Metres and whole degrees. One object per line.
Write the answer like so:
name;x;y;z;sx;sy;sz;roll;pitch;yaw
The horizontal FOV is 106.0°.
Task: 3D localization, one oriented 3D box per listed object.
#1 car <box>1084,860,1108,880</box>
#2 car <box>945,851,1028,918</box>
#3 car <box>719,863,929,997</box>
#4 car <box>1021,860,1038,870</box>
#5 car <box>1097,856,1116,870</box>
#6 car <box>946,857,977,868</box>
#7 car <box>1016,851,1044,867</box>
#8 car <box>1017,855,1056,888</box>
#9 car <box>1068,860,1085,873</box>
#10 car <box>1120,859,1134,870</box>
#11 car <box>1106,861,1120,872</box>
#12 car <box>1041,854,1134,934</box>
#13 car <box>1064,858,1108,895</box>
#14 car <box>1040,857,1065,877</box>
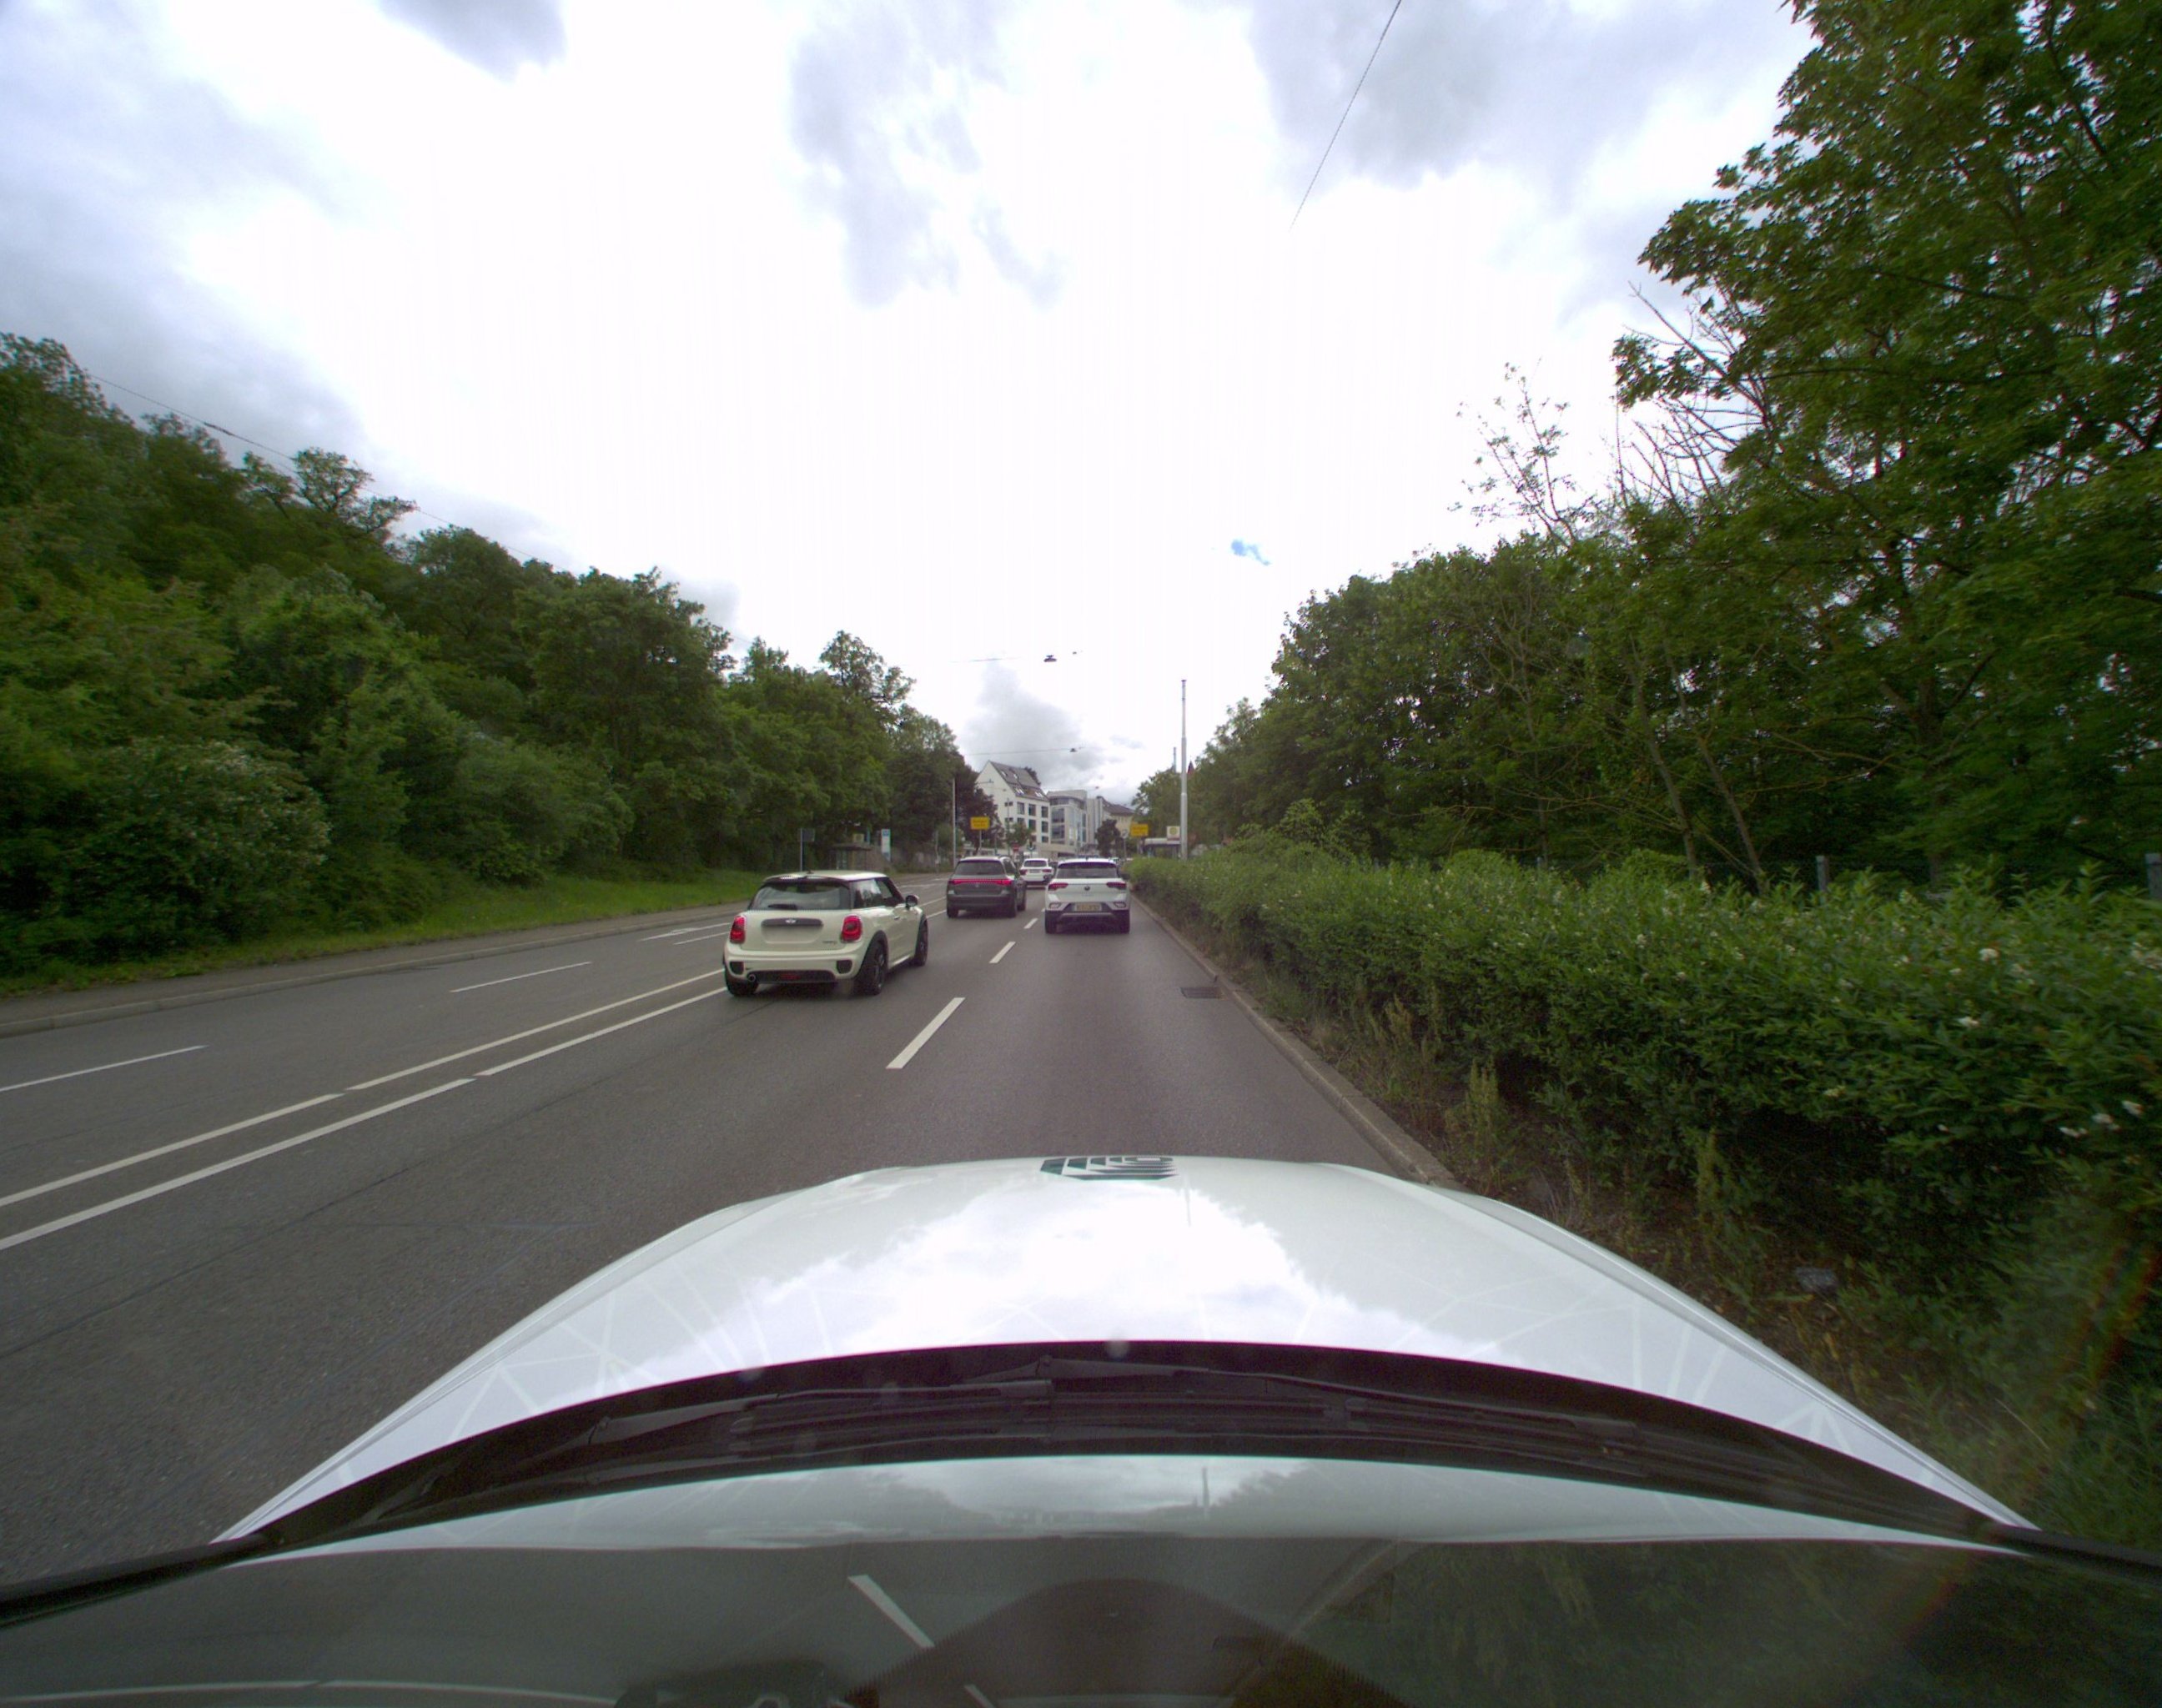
car;1.210;1.283;67.398;1.867;1.501;4.553;2;0;-1
car;-2.560;0.801;23.134;1.807;1.652;4.634;-2;0;-1
car;-3.113;0.840;10.588;1.623;1.393;3.564;-2;0;-1
car;-8.150;1.708;129.037;1.610;1.465;3.940;-1;0;13
car;2.717;0.965;87.731;1.852;1.500;4.054;-2;0;-1
car;-16.664;1.174;113.479;4.121;1.540;1.593;-1;-1;-11
car;-8.547;0.829;136.704;2.214;2.568;7.454;-1;0;17
car;-2.338;0.925;43.839;1.852;1.652;4.634;-2;0;-1
car;-0.517;1.417;93.567;1.852;1.500;4.054;-2;0;-1
car;6.682;1.460;117.851;1.849;1.500;4.061;-2;0;5
car;4.865;1.889;122.393;1.849;1.500;4.061;-2;0;5
car;0.114;0.809;18.104;1.806;1.539;3.688;-2;0;-1
car;0.201;0.980;36.985;1.852;1.500;4.054;-2;0;-1
car;-2.289;1.055;65.350;1.852;1.500;4.054;-2;0;-1
